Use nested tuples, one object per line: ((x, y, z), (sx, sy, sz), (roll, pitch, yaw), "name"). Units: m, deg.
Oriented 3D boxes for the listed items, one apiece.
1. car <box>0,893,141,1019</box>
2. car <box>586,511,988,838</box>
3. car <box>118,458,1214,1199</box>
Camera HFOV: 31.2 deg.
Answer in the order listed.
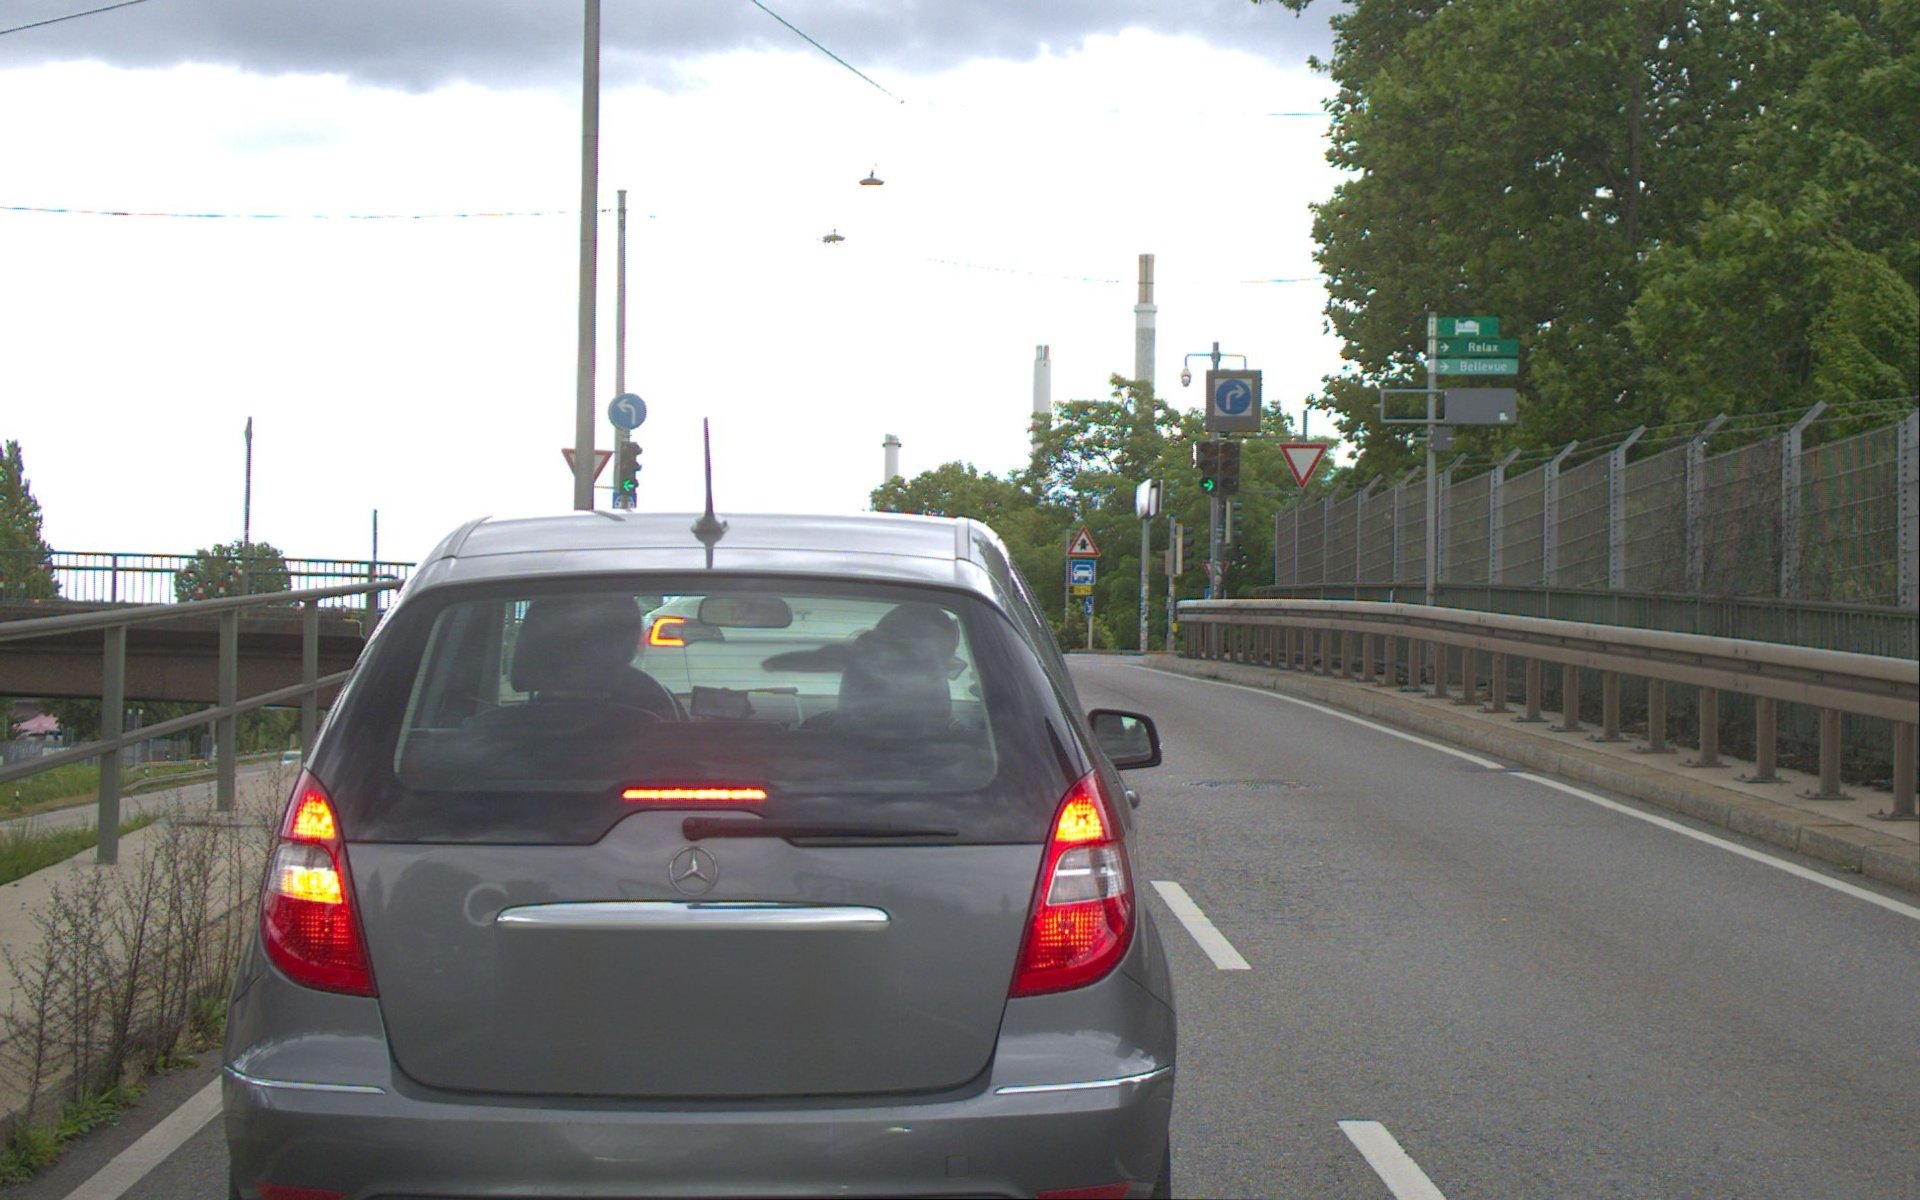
((-13.647, 5.269, 51.233), (1.854, 1.495, 4.000), (0, -1, 1), "car")
((-0.891, 0.319, 19.108), (1.993, 1.597, 4.001), (0, 2, -1), "car")
((-0.357, 0.601, 7.813), (1.750, 1.575, 4.083), (0, -2, 6), "car")
